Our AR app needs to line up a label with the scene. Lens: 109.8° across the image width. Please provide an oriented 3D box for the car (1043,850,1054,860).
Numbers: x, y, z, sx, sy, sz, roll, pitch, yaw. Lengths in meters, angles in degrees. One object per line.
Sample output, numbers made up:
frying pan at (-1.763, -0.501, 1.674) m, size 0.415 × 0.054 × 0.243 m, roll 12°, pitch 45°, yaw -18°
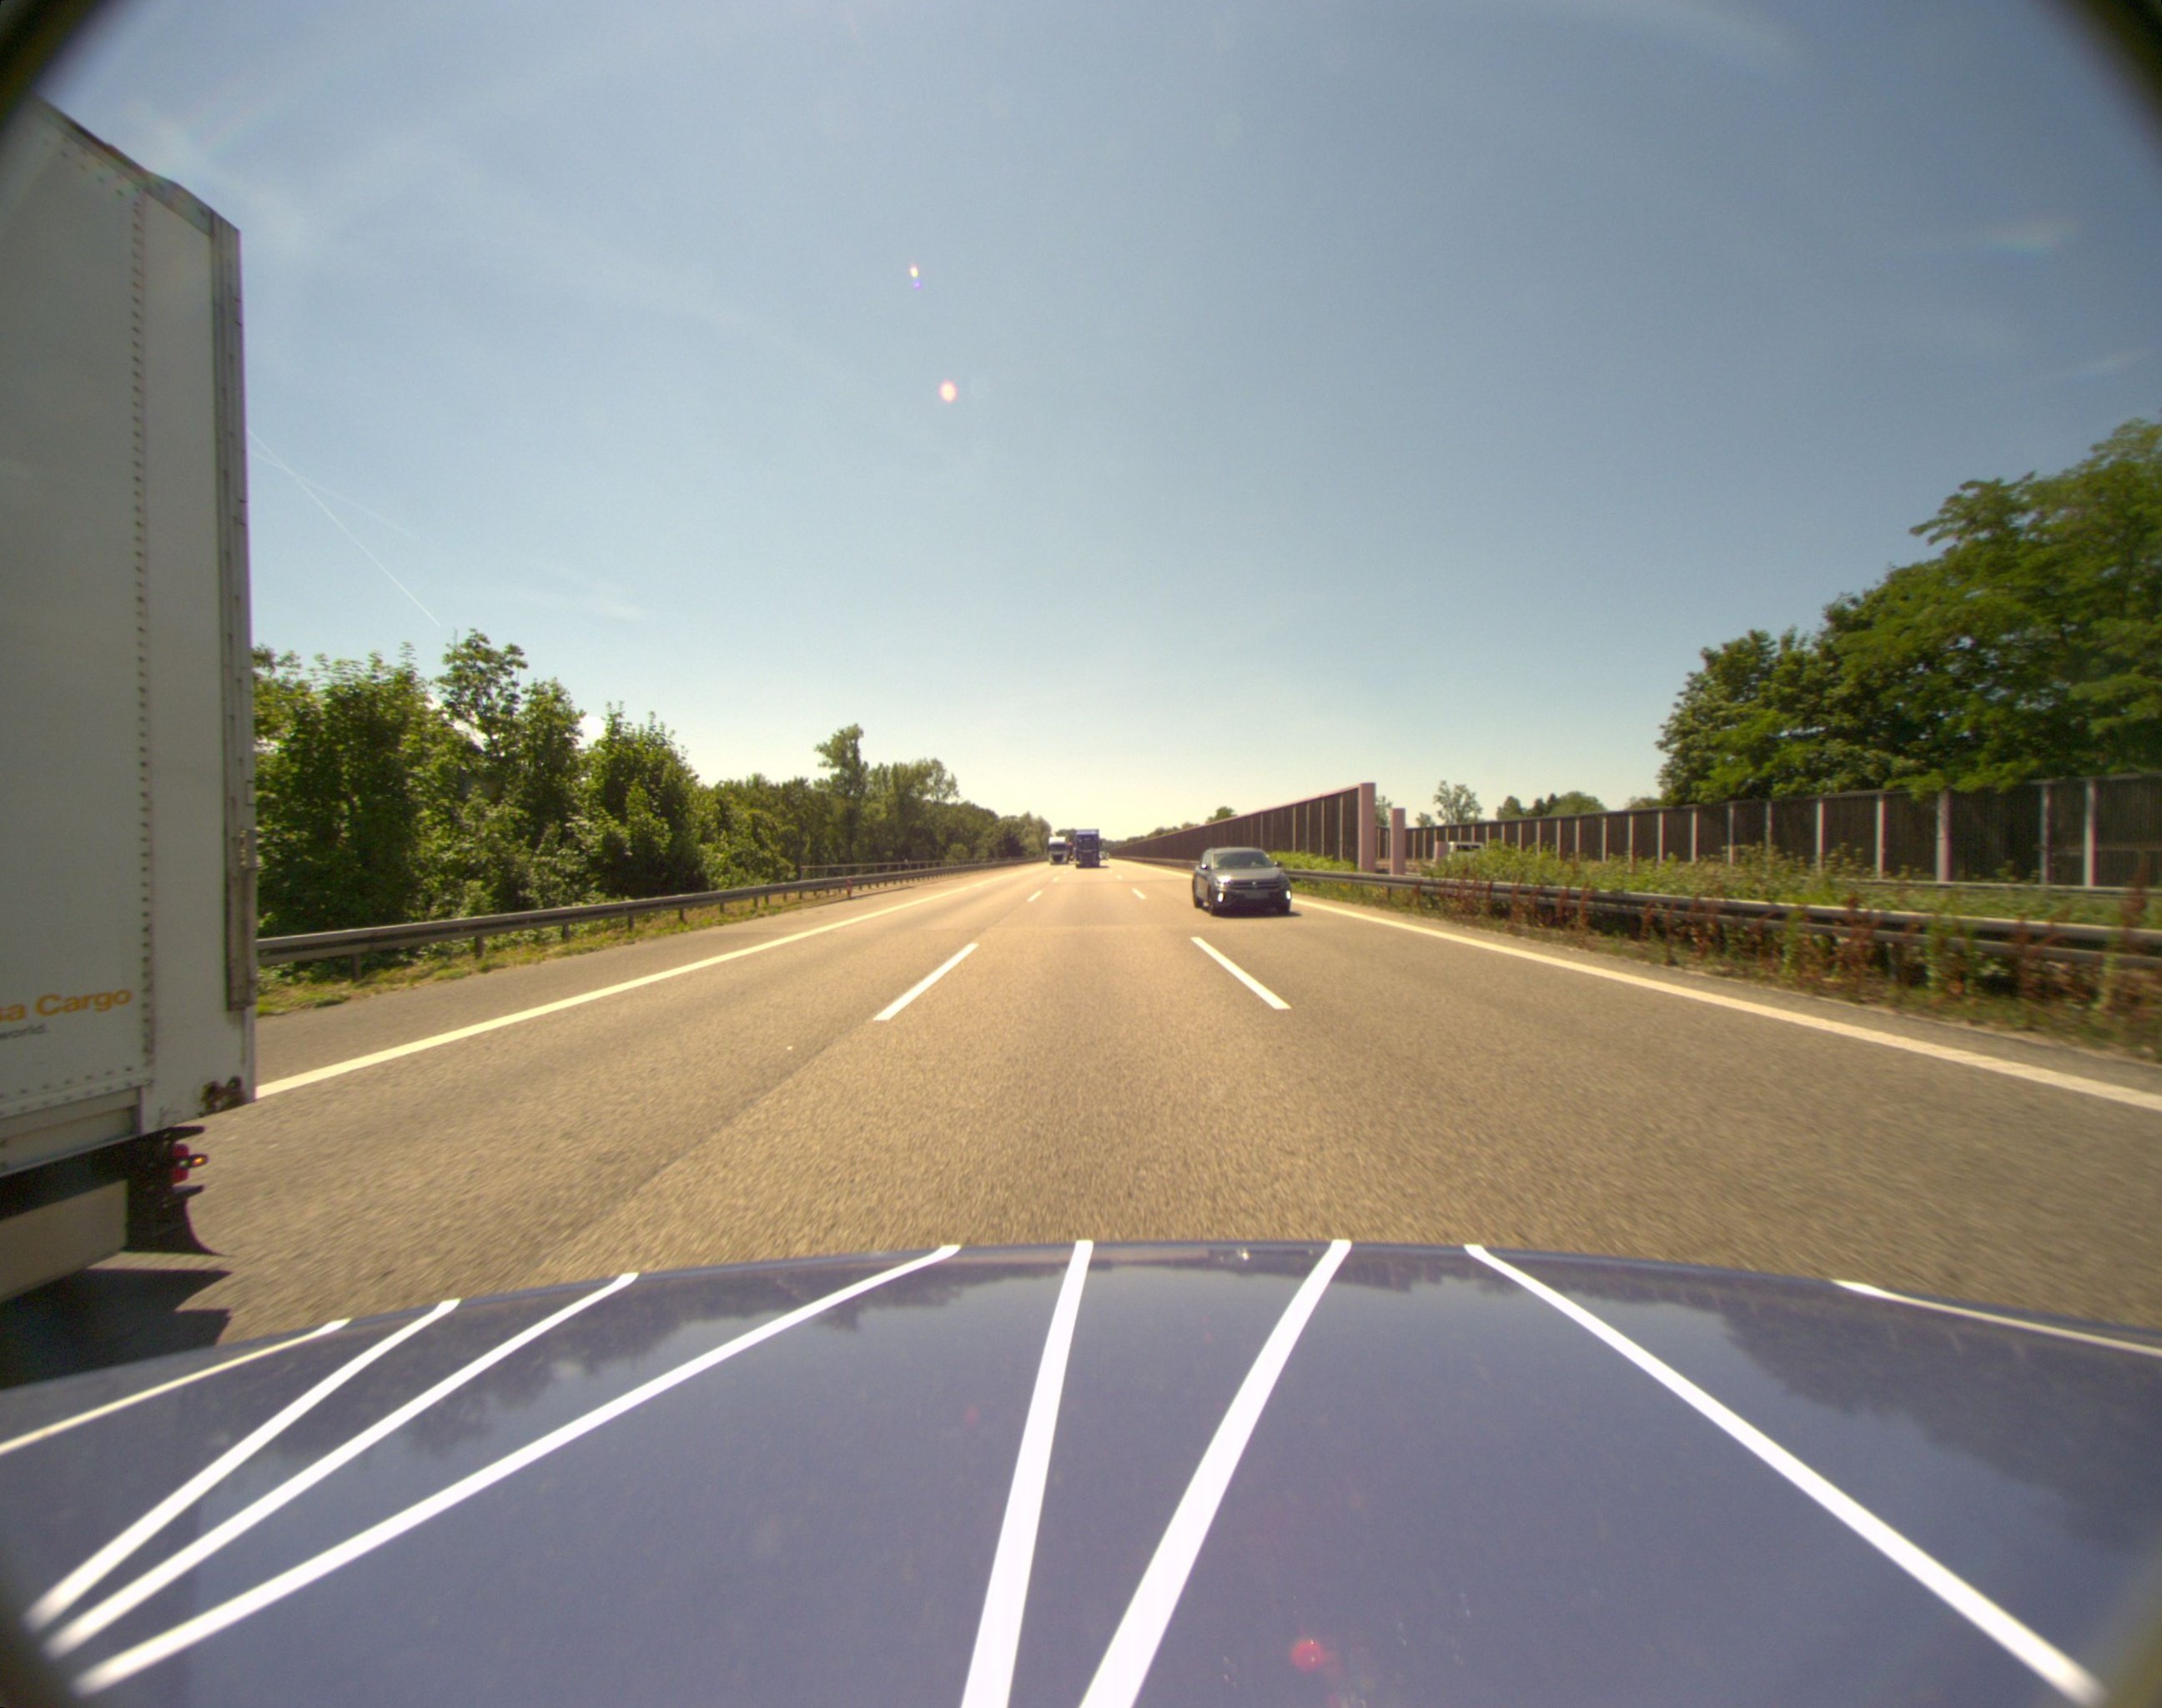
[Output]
car at (-6.273, 0.157, 146.119) m, size 1.935 × 1.805 × 4.000 m, roll -2°, pitch 0°, yaw -1°

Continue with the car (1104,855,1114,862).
car at (6.199, 0.995, 169.392) m, size 2.045 × 1.559 × 4.000 m, roll -2°, pitch 0°, yaw 1°

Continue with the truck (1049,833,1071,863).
truck at (-3.107, -0.871, 113.038) m, size 2.820 × 4.139 × 10.448 m, roll -2°, pitch 0°, yaw 0°

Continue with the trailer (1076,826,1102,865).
trailer at (0.913, -0.920, 86.756) m, size 2.707 × 4.093 × 12.132 m, roll -2°, pitch 0°, yaw 1°

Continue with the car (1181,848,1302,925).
car at (3.797, 0.721, 18.891) m, size 1.885 × 1.630 × 5.008 m, roll -1°, pitch 0°, yaw -1°

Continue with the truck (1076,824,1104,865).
truck at (0.889, -0.929, 79.568) m, size 2.707 × 4.093 × 6.990 m, roll -2°, pitch 0°, yaw 0°

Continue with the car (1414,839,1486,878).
car at (21.337, 0.232, 44.142) m, size 1.894 × 2.075 × 4.766 m, roll -1°, pitch 0°, yaw 1°
